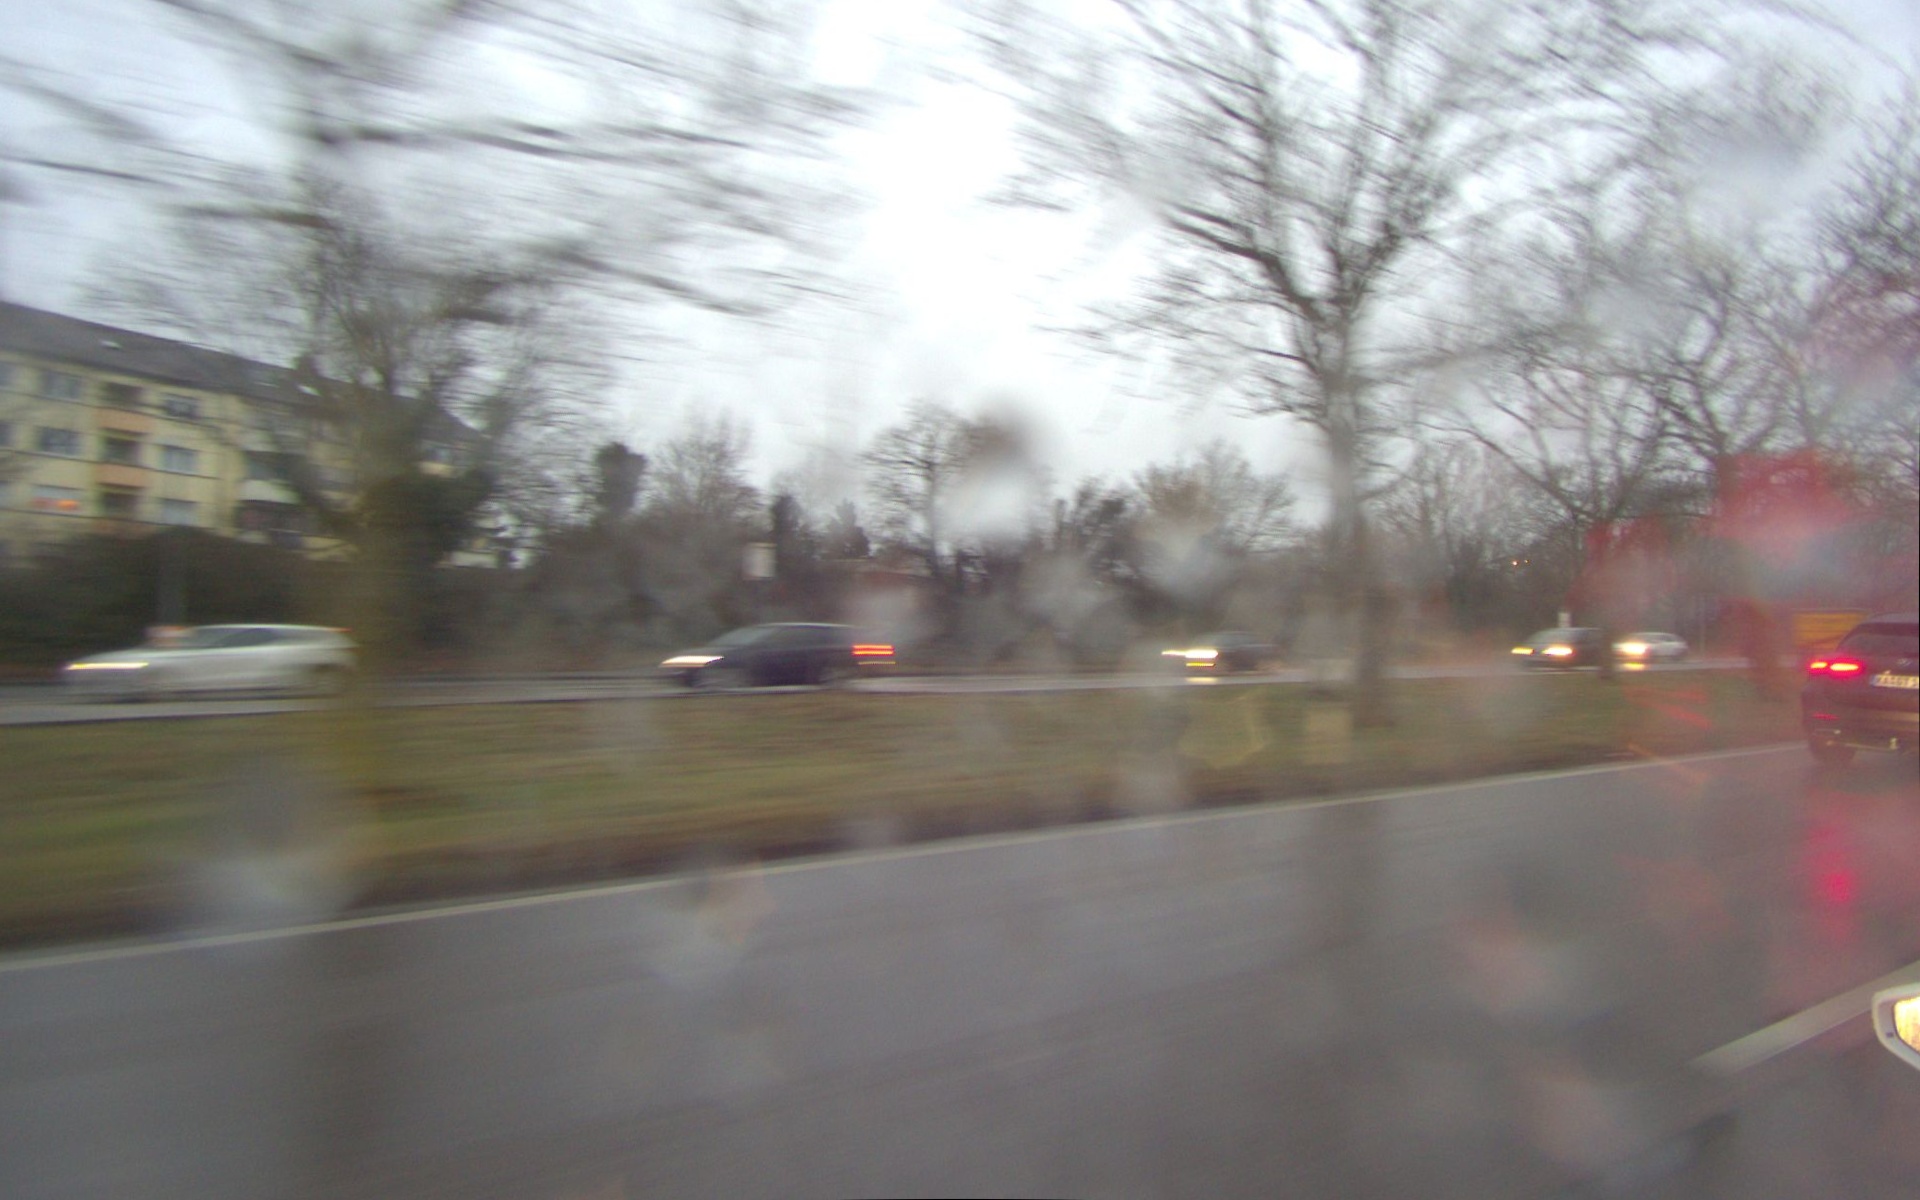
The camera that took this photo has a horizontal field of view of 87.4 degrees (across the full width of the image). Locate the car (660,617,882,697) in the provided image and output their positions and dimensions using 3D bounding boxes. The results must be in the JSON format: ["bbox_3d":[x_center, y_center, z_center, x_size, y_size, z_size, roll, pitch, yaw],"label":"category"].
[{"bbox_3d":[-3.994,1.192,21.431,4.324,1.553,1.776,2,-2,-29],"label":"car"}]

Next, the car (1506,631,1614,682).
[{"bbox_3d":[21.324,1.970,35.691,3.934,1.704,1.609,1,-1,-30],"label":"car"}]

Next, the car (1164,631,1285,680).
[{"bbox_3d":[8.579,1.770,32.492,3.747,1.487,1.624,2,-2,-30],"label":"car"}]

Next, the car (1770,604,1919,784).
[{"bbox_3d":[10.523,0.920,10.424,4.260,1.623,1.983,2,0,-32],"label":"car"}]

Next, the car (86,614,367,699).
[{"bbox_3d":[-14.093,1.078,19.650,4.222,1.508,1.710,2,-2,-30],"label":"car"}]

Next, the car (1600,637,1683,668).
[{"bbox_3d":[33.795,2.595,49.761,4.249,1.413,1.740,2,-2,-30],"label":"car"}]
